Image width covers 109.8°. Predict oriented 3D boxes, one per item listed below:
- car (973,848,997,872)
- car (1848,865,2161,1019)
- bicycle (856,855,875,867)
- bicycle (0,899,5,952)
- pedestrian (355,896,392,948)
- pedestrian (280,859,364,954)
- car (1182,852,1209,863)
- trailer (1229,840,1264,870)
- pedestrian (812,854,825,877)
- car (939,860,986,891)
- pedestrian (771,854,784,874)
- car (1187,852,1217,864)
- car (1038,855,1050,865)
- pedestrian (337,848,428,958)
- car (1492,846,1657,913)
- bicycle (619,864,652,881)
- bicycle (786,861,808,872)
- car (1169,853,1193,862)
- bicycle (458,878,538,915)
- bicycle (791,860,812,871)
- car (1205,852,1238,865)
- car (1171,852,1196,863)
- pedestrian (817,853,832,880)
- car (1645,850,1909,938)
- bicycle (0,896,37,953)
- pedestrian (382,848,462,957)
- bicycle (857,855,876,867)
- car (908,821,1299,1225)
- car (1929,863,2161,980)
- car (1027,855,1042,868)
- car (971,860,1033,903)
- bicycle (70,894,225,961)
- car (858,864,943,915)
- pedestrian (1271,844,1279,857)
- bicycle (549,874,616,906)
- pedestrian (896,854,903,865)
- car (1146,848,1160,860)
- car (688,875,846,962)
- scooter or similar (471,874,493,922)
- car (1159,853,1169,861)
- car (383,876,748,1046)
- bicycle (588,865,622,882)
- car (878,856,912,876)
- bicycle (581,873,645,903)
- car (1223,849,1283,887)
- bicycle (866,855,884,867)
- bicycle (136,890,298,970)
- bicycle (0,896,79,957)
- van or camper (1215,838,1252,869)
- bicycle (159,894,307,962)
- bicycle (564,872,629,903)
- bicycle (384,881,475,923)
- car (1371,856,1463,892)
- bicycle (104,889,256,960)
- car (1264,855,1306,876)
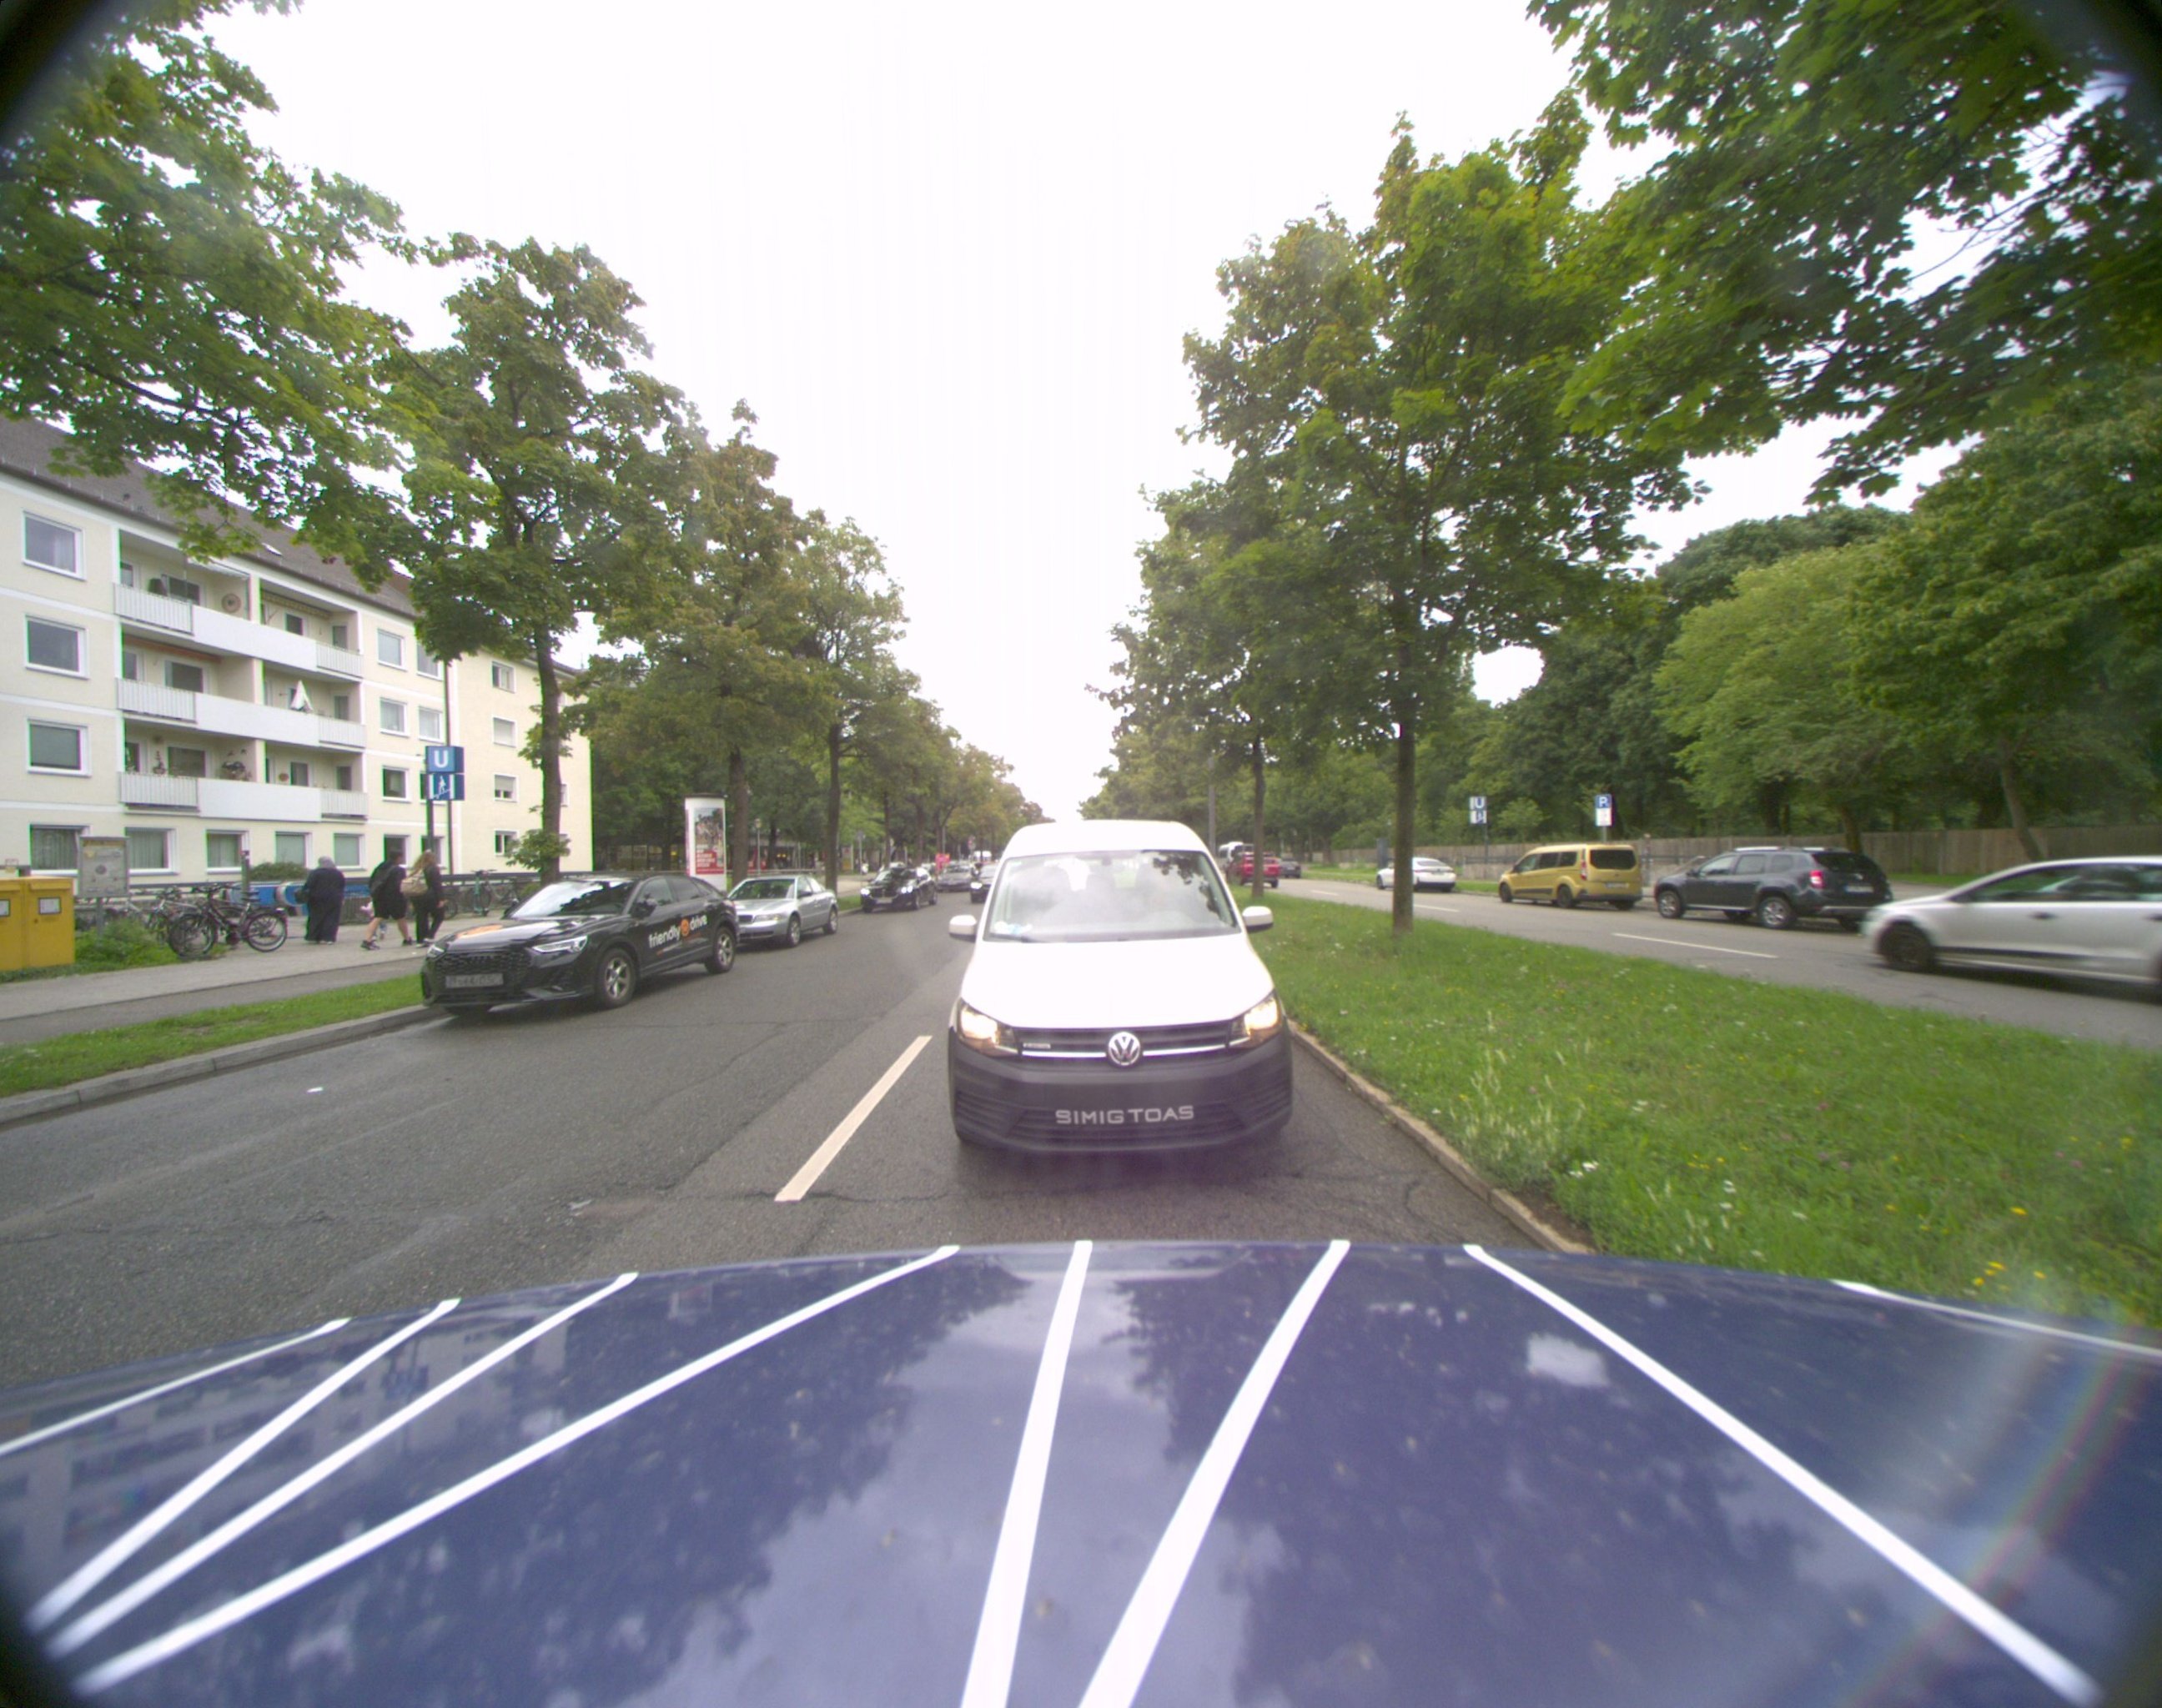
[{"bbox_3d":[-11.277,0.691,90.074,1.978,2.641,6.005,-3,0,0],"label":"car"},{"bbox_3d":[10.751,0.839,7.907,1.622,1.367,3.837,1,0,0],"label":"car"},{"bbox_3d":[-28.661,0.956,101.091,2.313,1.523,0.649,-1,1,0],"label":"bicycle"},{"bbox_3d":[-21.102,1.384,13.793,0.432,1.022,1.883,0,0,1],"label":"bicycle"},{"bbox_3d":[-13.581,1.300,14.585,0.434,0.944,0.410,0,1,35],"label":"pedestrian"},{"bbox_3d":[-13.943,0.928,13.970,0.832,1.671,0.843,0,1,28],"label":"pedestrian"},{"bbox_3d":[18.117,0.580,120.290,4.006,1.548,1.887,-3,0,-32],"label":"car"},{"bbox_3d":[14.448,0.094,66.513,2.022,2.575,4.658,0,0,0],"label":"trailer"},{"bbox_3d":[-20.405,0.892,59.019,0.600,1.720,0.642,-2,1,20],"label":"pedestrian"},{"bbox_3d":[-6.184,1.087,39.936,1.686,1.457,4.115,-3,0,1],"label":"car"},{"bbox_3d":[-24.238,0.812,60.626,0.779,1.565,0.581,-1,1,35],"label":"pedestrian"},{"bbox_3d":[18.163,0.545,114.067,4.005,1.548,1.888,-3,0,-27],"label":"car"},{"bbox_3d":[-6.040,1.027,123.421,1.735,1.498,4.441,-3,0,-1],"label":"car"},{"bbox_3d":[-12.364,0.831,13.486,0.731,1.879,0.919,0,1,-1],"label":"pedestrian"},{"bbox_3d":[14.386,0.683,22.551,1.819,1.772,4.817,0,0,1],"label":"car"},{"bbox_3d":[-27.166,1.122,46.335,1.696,0.965,0.455,-1,0,-4],"label":"bicycle"},{"bbox_3d":[-28.987,1.267,77.531,2.080,1.114,0.455,-1,1,0],"label":"bicycle"},{"bbox_3d":[17.822,0.657,135.491,4.006,1.358,1.588,-2,1,-30],"label":"car"},{"bbox_3d":[-16.669,1.206,21.730,1.882,1.022,0.432,0,1,-3],"label":"bicycle"},{"bbox_3d":[-29.272,1.206,79.556,2.080,1.114,0.455,-1,1,0],"label":"bicycle"},{"bbox_3d":[18.275,0.589,98.738,4.006,1.477,1.797,-3,0,-34],"label":"car"},{"bbox_3d":[17.845,0.587,132.231,4.006,1.548,1.887,-3,0,-32],"label":"car"},{"bbox_3d":[-16.691,0.837,49.461,0.641,1.739,0.849,1,0,-1],"label":"pedestrian"},{"bbox_3d":[14.603,0.758,16.346,1.741,1.636,4.255,0,0,0],"label":"car"},{"bbox_3d":[-20.175,1.320,13.572,0.432,1.022,1.883,0,0,1],"label":"bicycle"},{"bbox_3d":[-11.693,0.828,13.515,0.589,1.879,0.902,-1,1,-1],"label":"pedestrian"},{"bbox_3d":[-29.102,0.908,103.043,2.313,1.613,0.649,-1,1,0],"label":"bicycle"},{"bbox_3d":[0.071,0.762,5.768,1.750,1.807,4.667,-1,0,-1],"label":"car"},{"bbox_3d":[14.571,0.875,9.986,1.767,1.441,4.532,0,0,0],"label":"car"},{"bbox_3d":[-6.127,0.974,100.658,1.686,1.632,4.464,-4,0,0],"label":"car"},{"bbox_3d":[-2.994,0.993,29.577,1.799,1.434,4.667,-3,0,1],"label":"car"},{"bbox_3d":[-16.667,1.272,13.645,0.432,1.022,1.883,0,0,1],"label":"bicycle"},{"bbox_3d":[-6.056,1.141,26.011,1.755,1.457,4.176,-3,0,1],"label":"car"},{"bbox_3d":[26.716,-0.479,104.704,0.770,1.757,0.873,0,1,-4],"label":"pedestrian"},{"bbox_3d":[-16.647,1.189,25.383,1.882,1.022,0.432,0,1,-3],"label":"bicycle"},{"bbox_3d":[-27.543,0.881,115.359,0.872,1.689,0.771,0,2,14],"label":"pedestrian"},{"bbox_3d":[11.588,0.025,122.949,1.804,1.922,4.993,0,1,-1],"label":"car"},{"bbox_3d":[-6.309,1.226,15.801,1.640,1.378,4.243,-3,0,-3],"label":"car"},{"bbox_3d":[-15.910,1.138,20.164,0.359,1.193,1.386,-1,1,-42],"label":"scooter or similar"},{"bbox_3d":[16.725,0.624,153.280,1.889,1.435,4.169,-2,1,4],"label":"car"},{"bbox_3d":[-6.147,1.142,9.814,1.721,1.524,4.275,-3,0,0],"label":"car"},{"bbox_3d":[-28.948,1.180,46.195,1.696,0.965,0.455,-1,0,-4],"label":"bicycle"},{"bbox_3d":[-16.279,1.046,66.750,1.826,1.624,4.198,0,0,2],"label":"car"},{"bbox_3d":[-16.498,1.178,26.806,1.883,1.022,0.432,0,1,-8],"label":"bicycle"},{"bbox_3d":[8.095,0.627,36.150,1.908,1.686,4.245,1,0,1],"label":"car"},{"bbox_3d":[-29.239,0.975,107.862,2.316,1.613,0.648,-1,1,-17],"label":"bicycle"},{"bbox_3d":[-13.838,1.176,12.253,0.432,1.127,1.884,0,0,1],"label":"bicycle"},{"bbox_3d":[-19.454,1.321,13.630,0.432,1.022,1.883,0,0,1],"label":"bicycle"},{"bbox_3d":[14.486,-0.022,72.643,2.040,2.821,7.546,0,0,0],"label":"van or camper"},{"bbox_3d":[-14.734,1.250,13.281,0.432,1.022,1.883,0,0,1],"label":"bicycle"},{"bbox_3d":[-16.732,1.155,26.247,1.883,1.022,0.432,0,1,-6],"label":"bicycle"},{"bbox_3d":[-16.549,1.223,19.317,1.882,1.022,0.432,0,1,-3],"label":"bicycle"},{"bbox_3d":[14.640,0.832,33.415,1.861,1.464,4.874,0,0,0],"label":"car"},{"bbox_3d":[-15.964,1.210,13.547,0.432,1.095,1.883,0,0,1],"label":"bicycle"},{"bbox_3d":[14.446,0.814,54.109,1.805,1.417,4.431,0,0,0],"label":"car"}]
